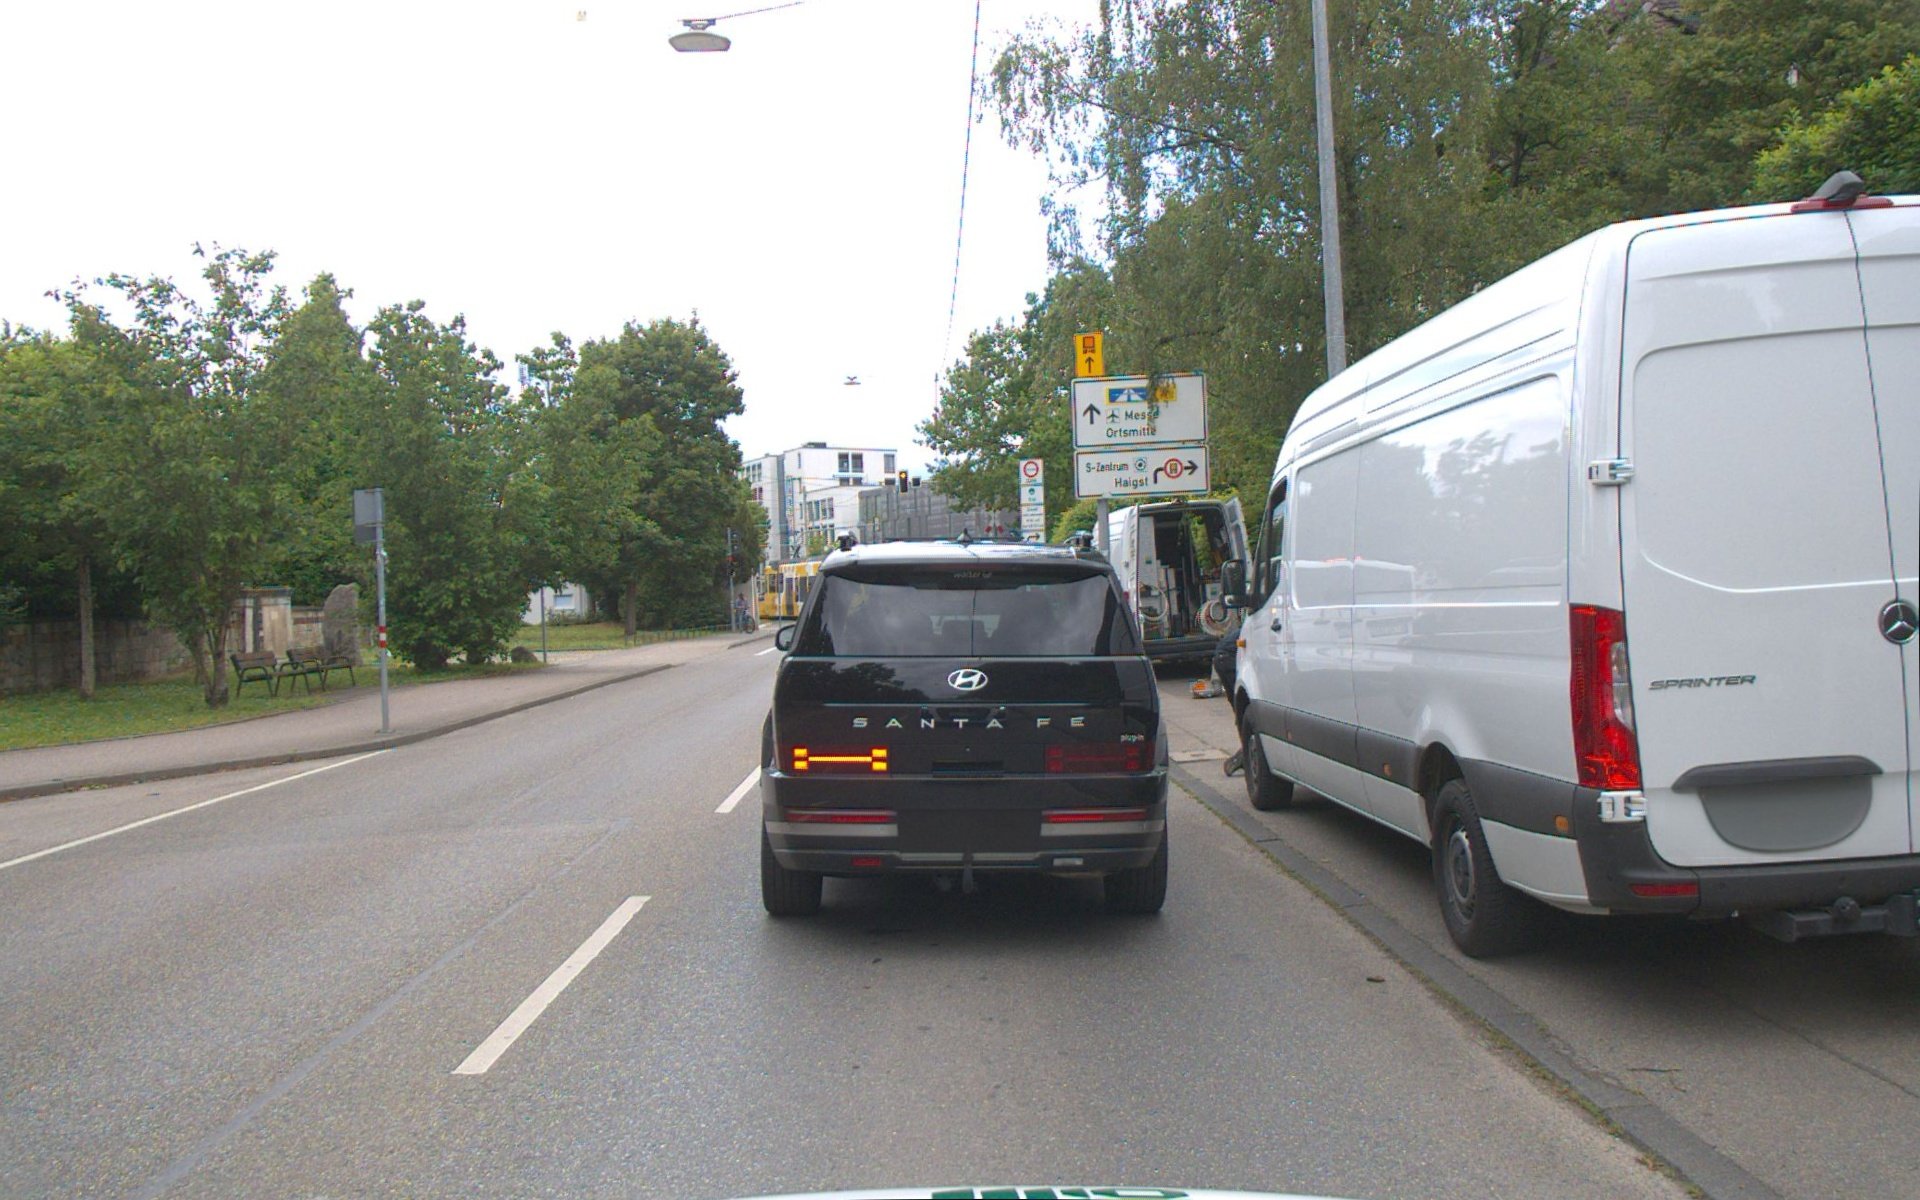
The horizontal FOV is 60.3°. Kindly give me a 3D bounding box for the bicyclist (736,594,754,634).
[{"bbox_3d":[-9.136,0.604,70.280,0.664,1.688,0.855,0,-2,-15],"label":"bicyclist"}]

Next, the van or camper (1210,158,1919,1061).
[{"bbox_3d":[2.856,-0.027,8.220,1.924,2.673,6.356,-4,0,-2],"label":"van or camper"}]

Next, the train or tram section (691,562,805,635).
[{"bbox_3d":[-15.234,0.080,116.795,3.150,4.602,18.550,0,-2,-23],"label":"train or tram section"}]

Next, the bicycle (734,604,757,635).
[{"bbox_3d":[-9.125,0.845,70.247,0.664,1.302,2.491,0,-2,-14],"label":"bicycle"}]

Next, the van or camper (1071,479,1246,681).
[{"bbox_3d":[3.111,-0.314,27.052,1.924,2.845,5.285,-4,0,-2],"label":"van or camper"}]

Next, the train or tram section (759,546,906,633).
[{"bbox_3d":[-8.039,-0.413,99.680,3.150,4.602,18.550,0,-2,-23],"label":"train or tram section"}]

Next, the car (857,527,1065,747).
[{"bbox_3d":[-0.045,0.333,17.505,1.924,2.036,3.999,-1,0,-2],"label":"car"}]

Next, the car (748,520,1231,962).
[{"bbox_3d":[0.068,0.551,8.641,1.924,1.741,3.999,-1,0,-2],"label":"car"}]

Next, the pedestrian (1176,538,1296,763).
[{"bbox_3d":[2.276,0.412,13.655,0.614,1.773,0.596,-5,0,-43],"label":"pedestrian"}]
